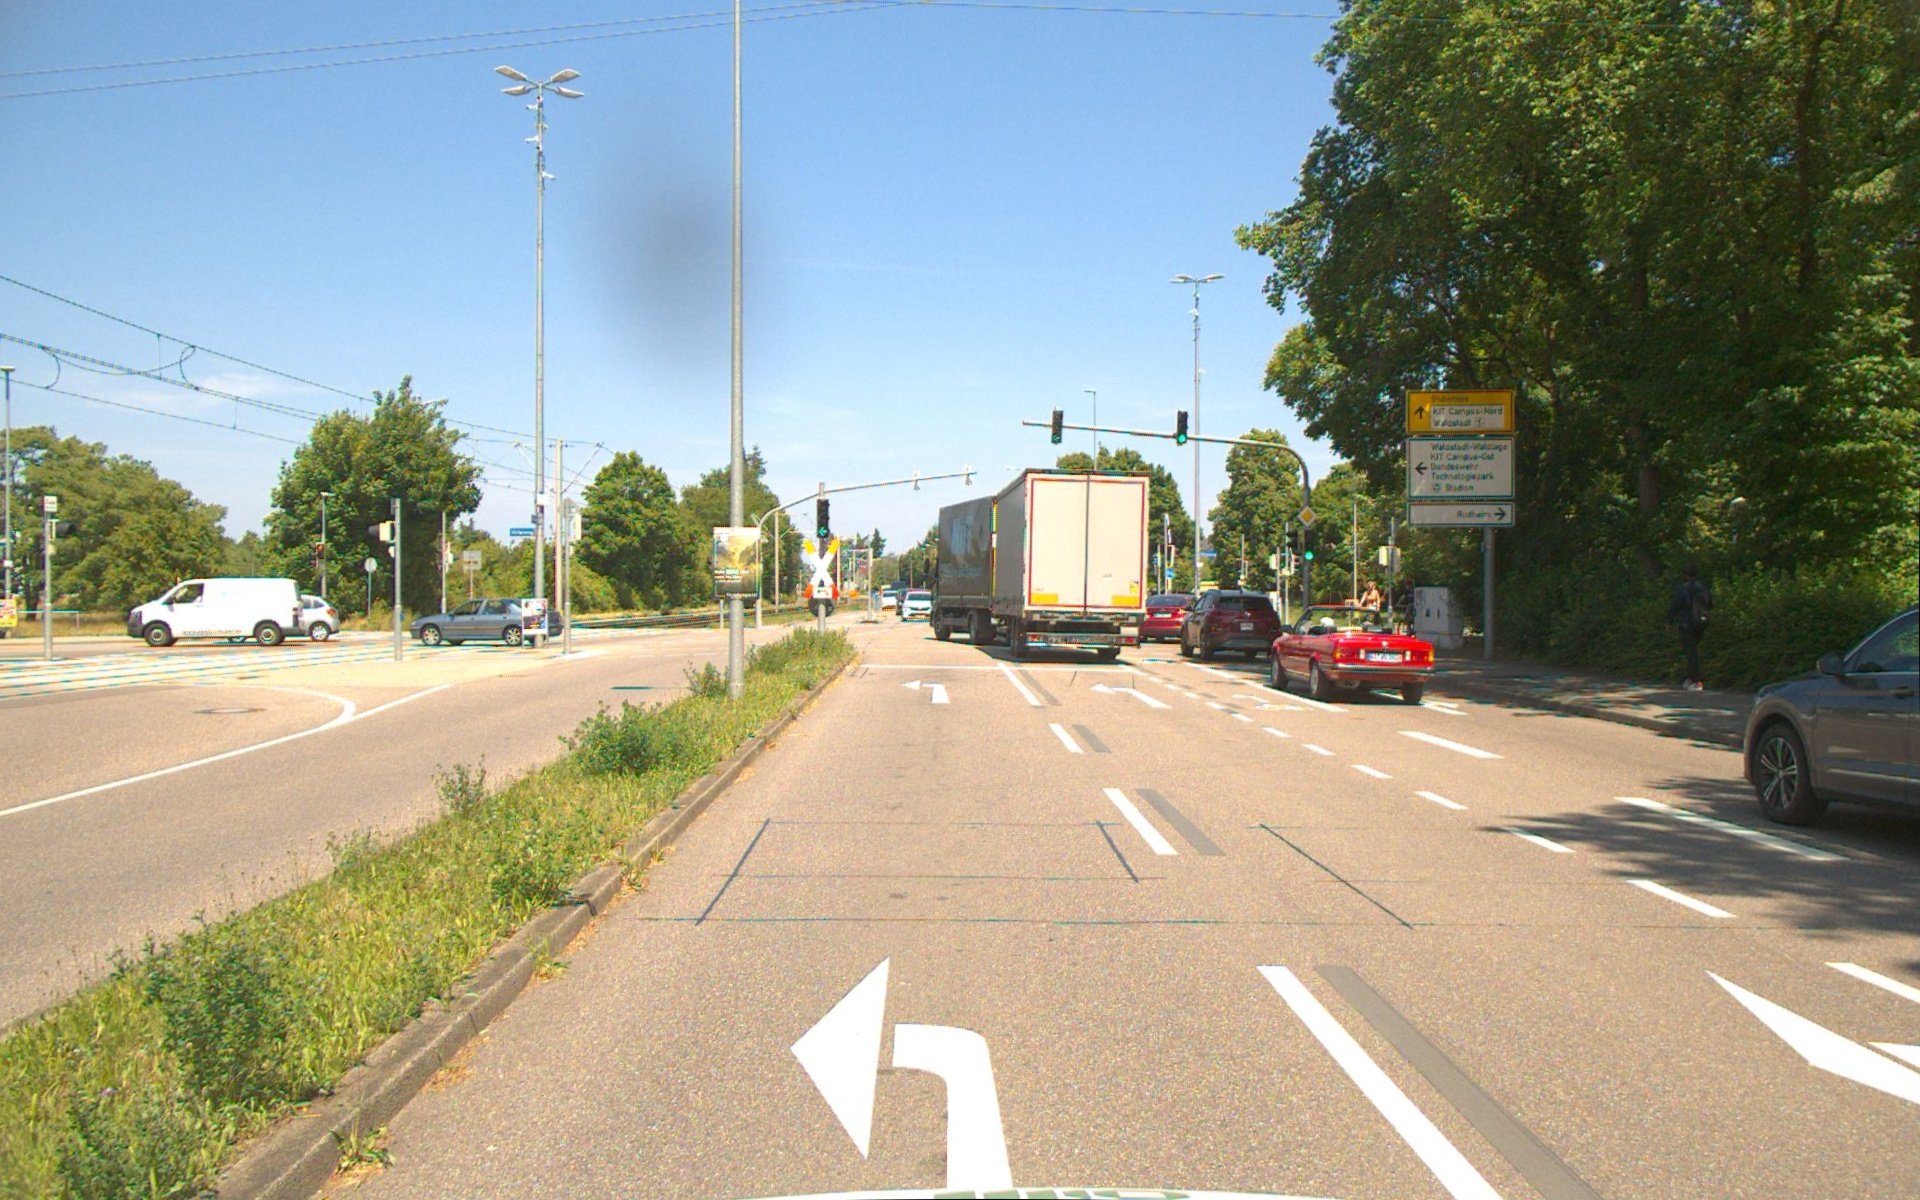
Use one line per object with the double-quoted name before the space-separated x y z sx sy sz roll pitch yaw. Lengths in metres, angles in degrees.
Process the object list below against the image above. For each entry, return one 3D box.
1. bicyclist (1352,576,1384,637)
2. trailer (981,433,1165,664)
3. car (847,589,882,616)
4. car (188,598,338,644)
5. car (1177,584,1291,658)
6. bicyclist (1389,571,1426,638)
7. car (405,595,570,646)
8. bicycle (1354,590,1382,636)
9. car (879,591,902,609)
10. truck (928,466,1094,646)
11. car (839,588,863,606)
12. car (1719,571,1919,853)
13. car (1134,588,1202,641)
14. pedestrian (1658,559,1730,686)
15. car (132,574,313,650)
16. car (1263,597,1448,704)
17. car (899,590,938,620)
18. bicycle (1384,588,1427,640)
"bicyclist" 12.018 0.181 48.715 0.785 1.757 0.679 -2 0 10
"trailer" 2.289 -1.053 36.976 2.772 4.498 8.741 1 0 -5
"car" -5.168 0.105 90.100 1.821 1.396 4.154 1 0 -2
"car" -22.283 0.656 53.048 4.354 1.395 1.886 0 1 -22
"car" 6.265 0.449 38.199 1.821 1.576 3.885 1 0 -2
"bicyclist" 11.873 0.111 43.858 0.711 1.733 0.677 -2 -1 32
"car" -14.081 0.601 49.392 4.321 1.395 1.901 1 1 11
"bicycle" 11.997 0.371 48.659 0.630 1.327 1.627 -2 0 10
"car" -5.670 -0.013 134.706 1.821 1.396 4.154 1 0 -2
"truck" 1.211 -1.152 45.521 2.776 4.420 8.263 2 1 -11
"car" -9.212 -0.275 140.055 1.821 1.396 4.154 1 0 -2
"car" 6.552 0.684 10.083 1.665 1.683 4.397 1 0 -2
"car" 6.387 0.411 51.252 1.951 1.529 4.505 0 1 5
"pedestrian" 10.917 0.328 24.619 0.738 1.847 0.693 -1 0 -2
"car" -21.788 0.330 49.041 4.657 2.148 1.991 0 1 -17
"car" 5.901 0.698 25.178 1.621 1.421 4.265 1 0 -2
"car" -2.052 0.229 80.965 1.821 1.396 4.154 1 0 -2
"bicycle" 11.796 0.356 43.737 0.711 1.318 1.301 -2 0 32
